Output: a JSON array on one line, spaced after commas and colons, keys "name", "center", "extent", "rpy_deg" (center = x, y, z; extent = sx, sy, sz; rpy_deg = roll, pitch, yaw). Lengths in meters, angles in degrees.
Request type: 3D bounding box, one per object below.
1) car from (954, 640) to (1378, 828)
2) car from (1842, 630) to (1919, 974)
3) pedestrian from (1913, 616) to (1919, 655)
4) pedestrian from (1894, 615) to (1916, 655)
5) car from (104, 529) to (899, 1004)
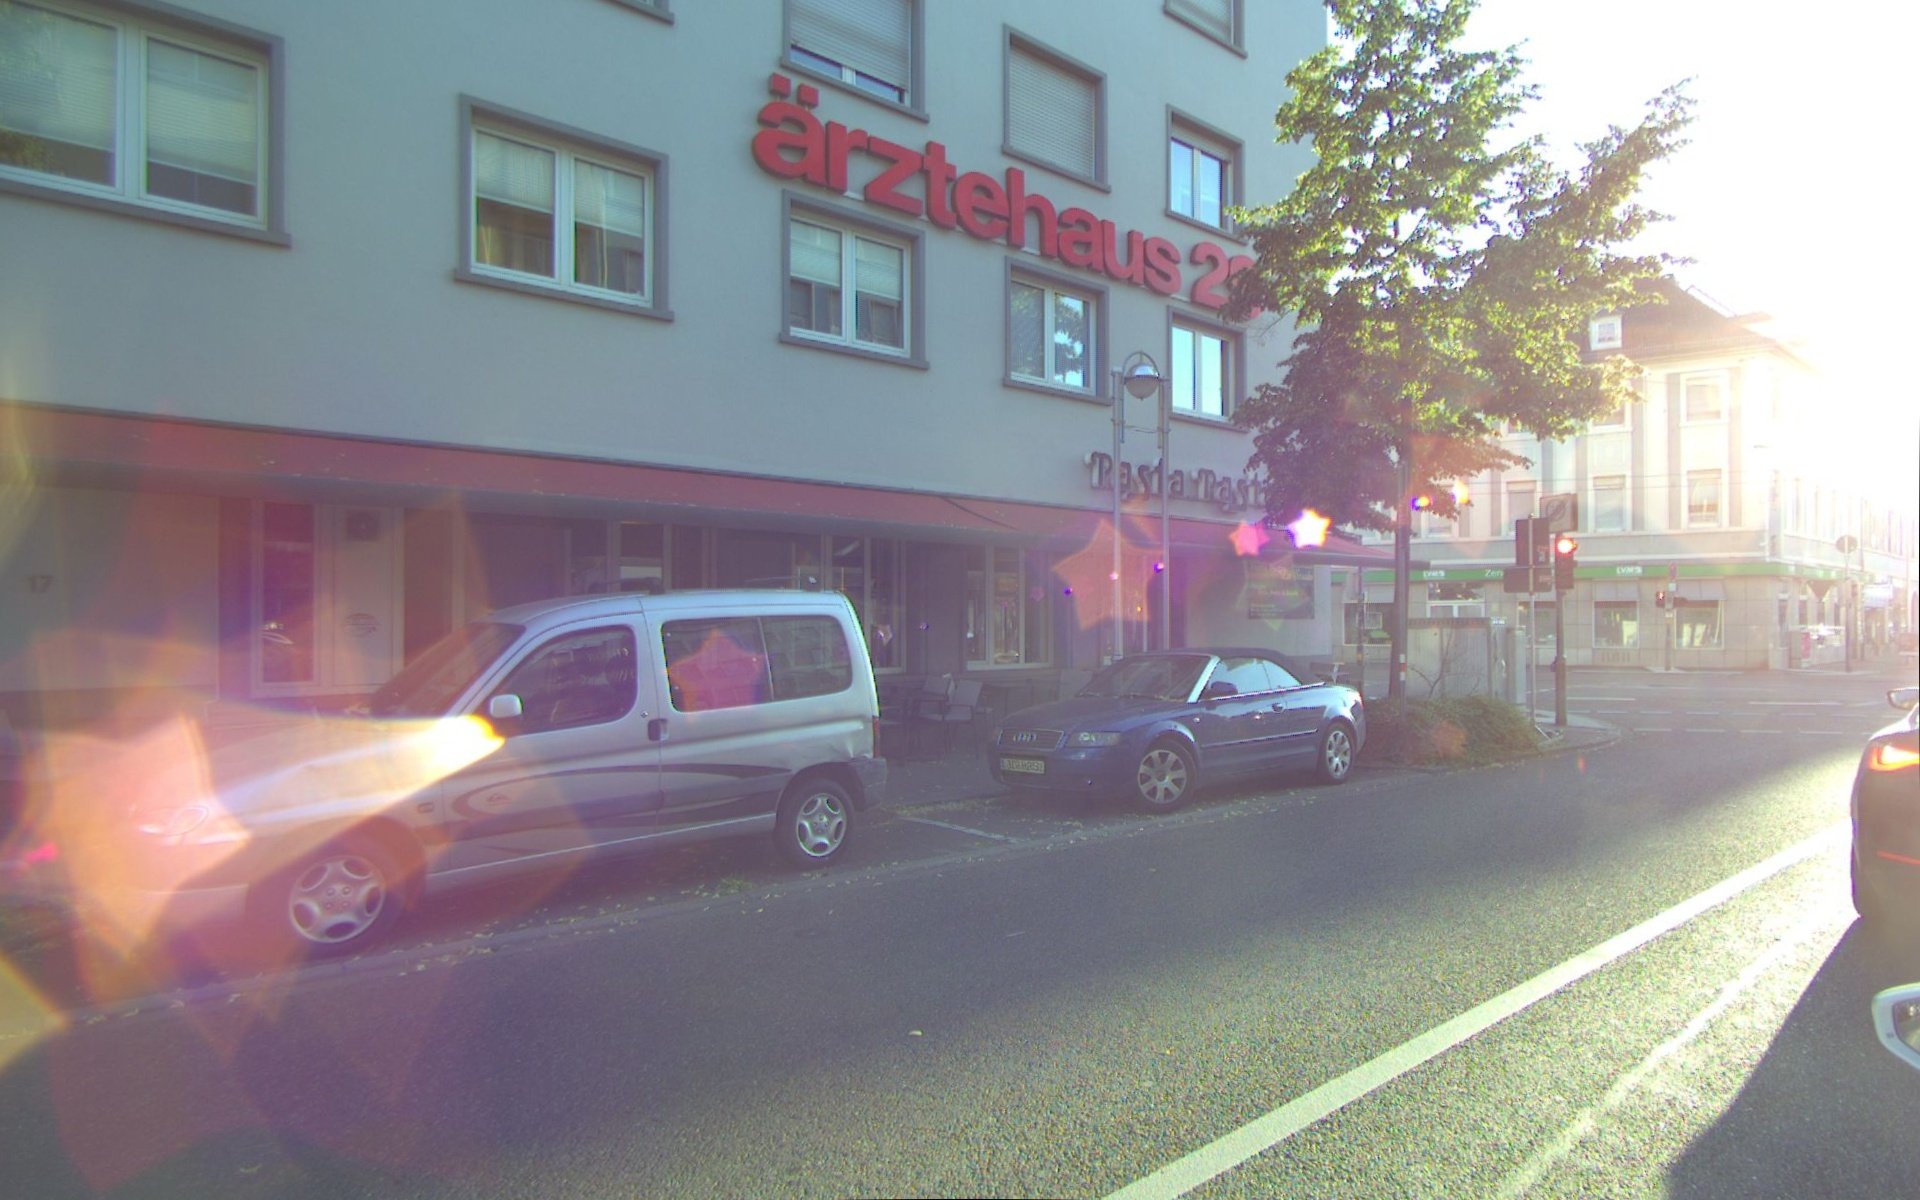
[{"name": "car", "center": [2.123, 1.121, 9.698], "extent": [4.244, 1.434, 1.710], "rpy_deg": [2, -4, -39]}, {"name": "car", "center": [6.072, 0.901, 5.115], "extent": [4.188, 1.447, 1.723], "rpy_deg": [1, -1, -39]}, {"name": "pedestrian", "center": [46.631, 1.719, 48.595], "extent": [0.612, 1.901, 0.671], "rpy_deg": [1, 0, -38]}, {"name": "pedestrian", "center": [46.336, 1.714, 49.250], "extent": [0.626, 1.901, 0.638], "rpy_deg": [1, 0, -38]}, {"name": "car", "center": [-2.465, 0.753, 6.025], "extent": [4.022, 1.912, 1.655], "rpy_deg": [2, -4, -41]}]
